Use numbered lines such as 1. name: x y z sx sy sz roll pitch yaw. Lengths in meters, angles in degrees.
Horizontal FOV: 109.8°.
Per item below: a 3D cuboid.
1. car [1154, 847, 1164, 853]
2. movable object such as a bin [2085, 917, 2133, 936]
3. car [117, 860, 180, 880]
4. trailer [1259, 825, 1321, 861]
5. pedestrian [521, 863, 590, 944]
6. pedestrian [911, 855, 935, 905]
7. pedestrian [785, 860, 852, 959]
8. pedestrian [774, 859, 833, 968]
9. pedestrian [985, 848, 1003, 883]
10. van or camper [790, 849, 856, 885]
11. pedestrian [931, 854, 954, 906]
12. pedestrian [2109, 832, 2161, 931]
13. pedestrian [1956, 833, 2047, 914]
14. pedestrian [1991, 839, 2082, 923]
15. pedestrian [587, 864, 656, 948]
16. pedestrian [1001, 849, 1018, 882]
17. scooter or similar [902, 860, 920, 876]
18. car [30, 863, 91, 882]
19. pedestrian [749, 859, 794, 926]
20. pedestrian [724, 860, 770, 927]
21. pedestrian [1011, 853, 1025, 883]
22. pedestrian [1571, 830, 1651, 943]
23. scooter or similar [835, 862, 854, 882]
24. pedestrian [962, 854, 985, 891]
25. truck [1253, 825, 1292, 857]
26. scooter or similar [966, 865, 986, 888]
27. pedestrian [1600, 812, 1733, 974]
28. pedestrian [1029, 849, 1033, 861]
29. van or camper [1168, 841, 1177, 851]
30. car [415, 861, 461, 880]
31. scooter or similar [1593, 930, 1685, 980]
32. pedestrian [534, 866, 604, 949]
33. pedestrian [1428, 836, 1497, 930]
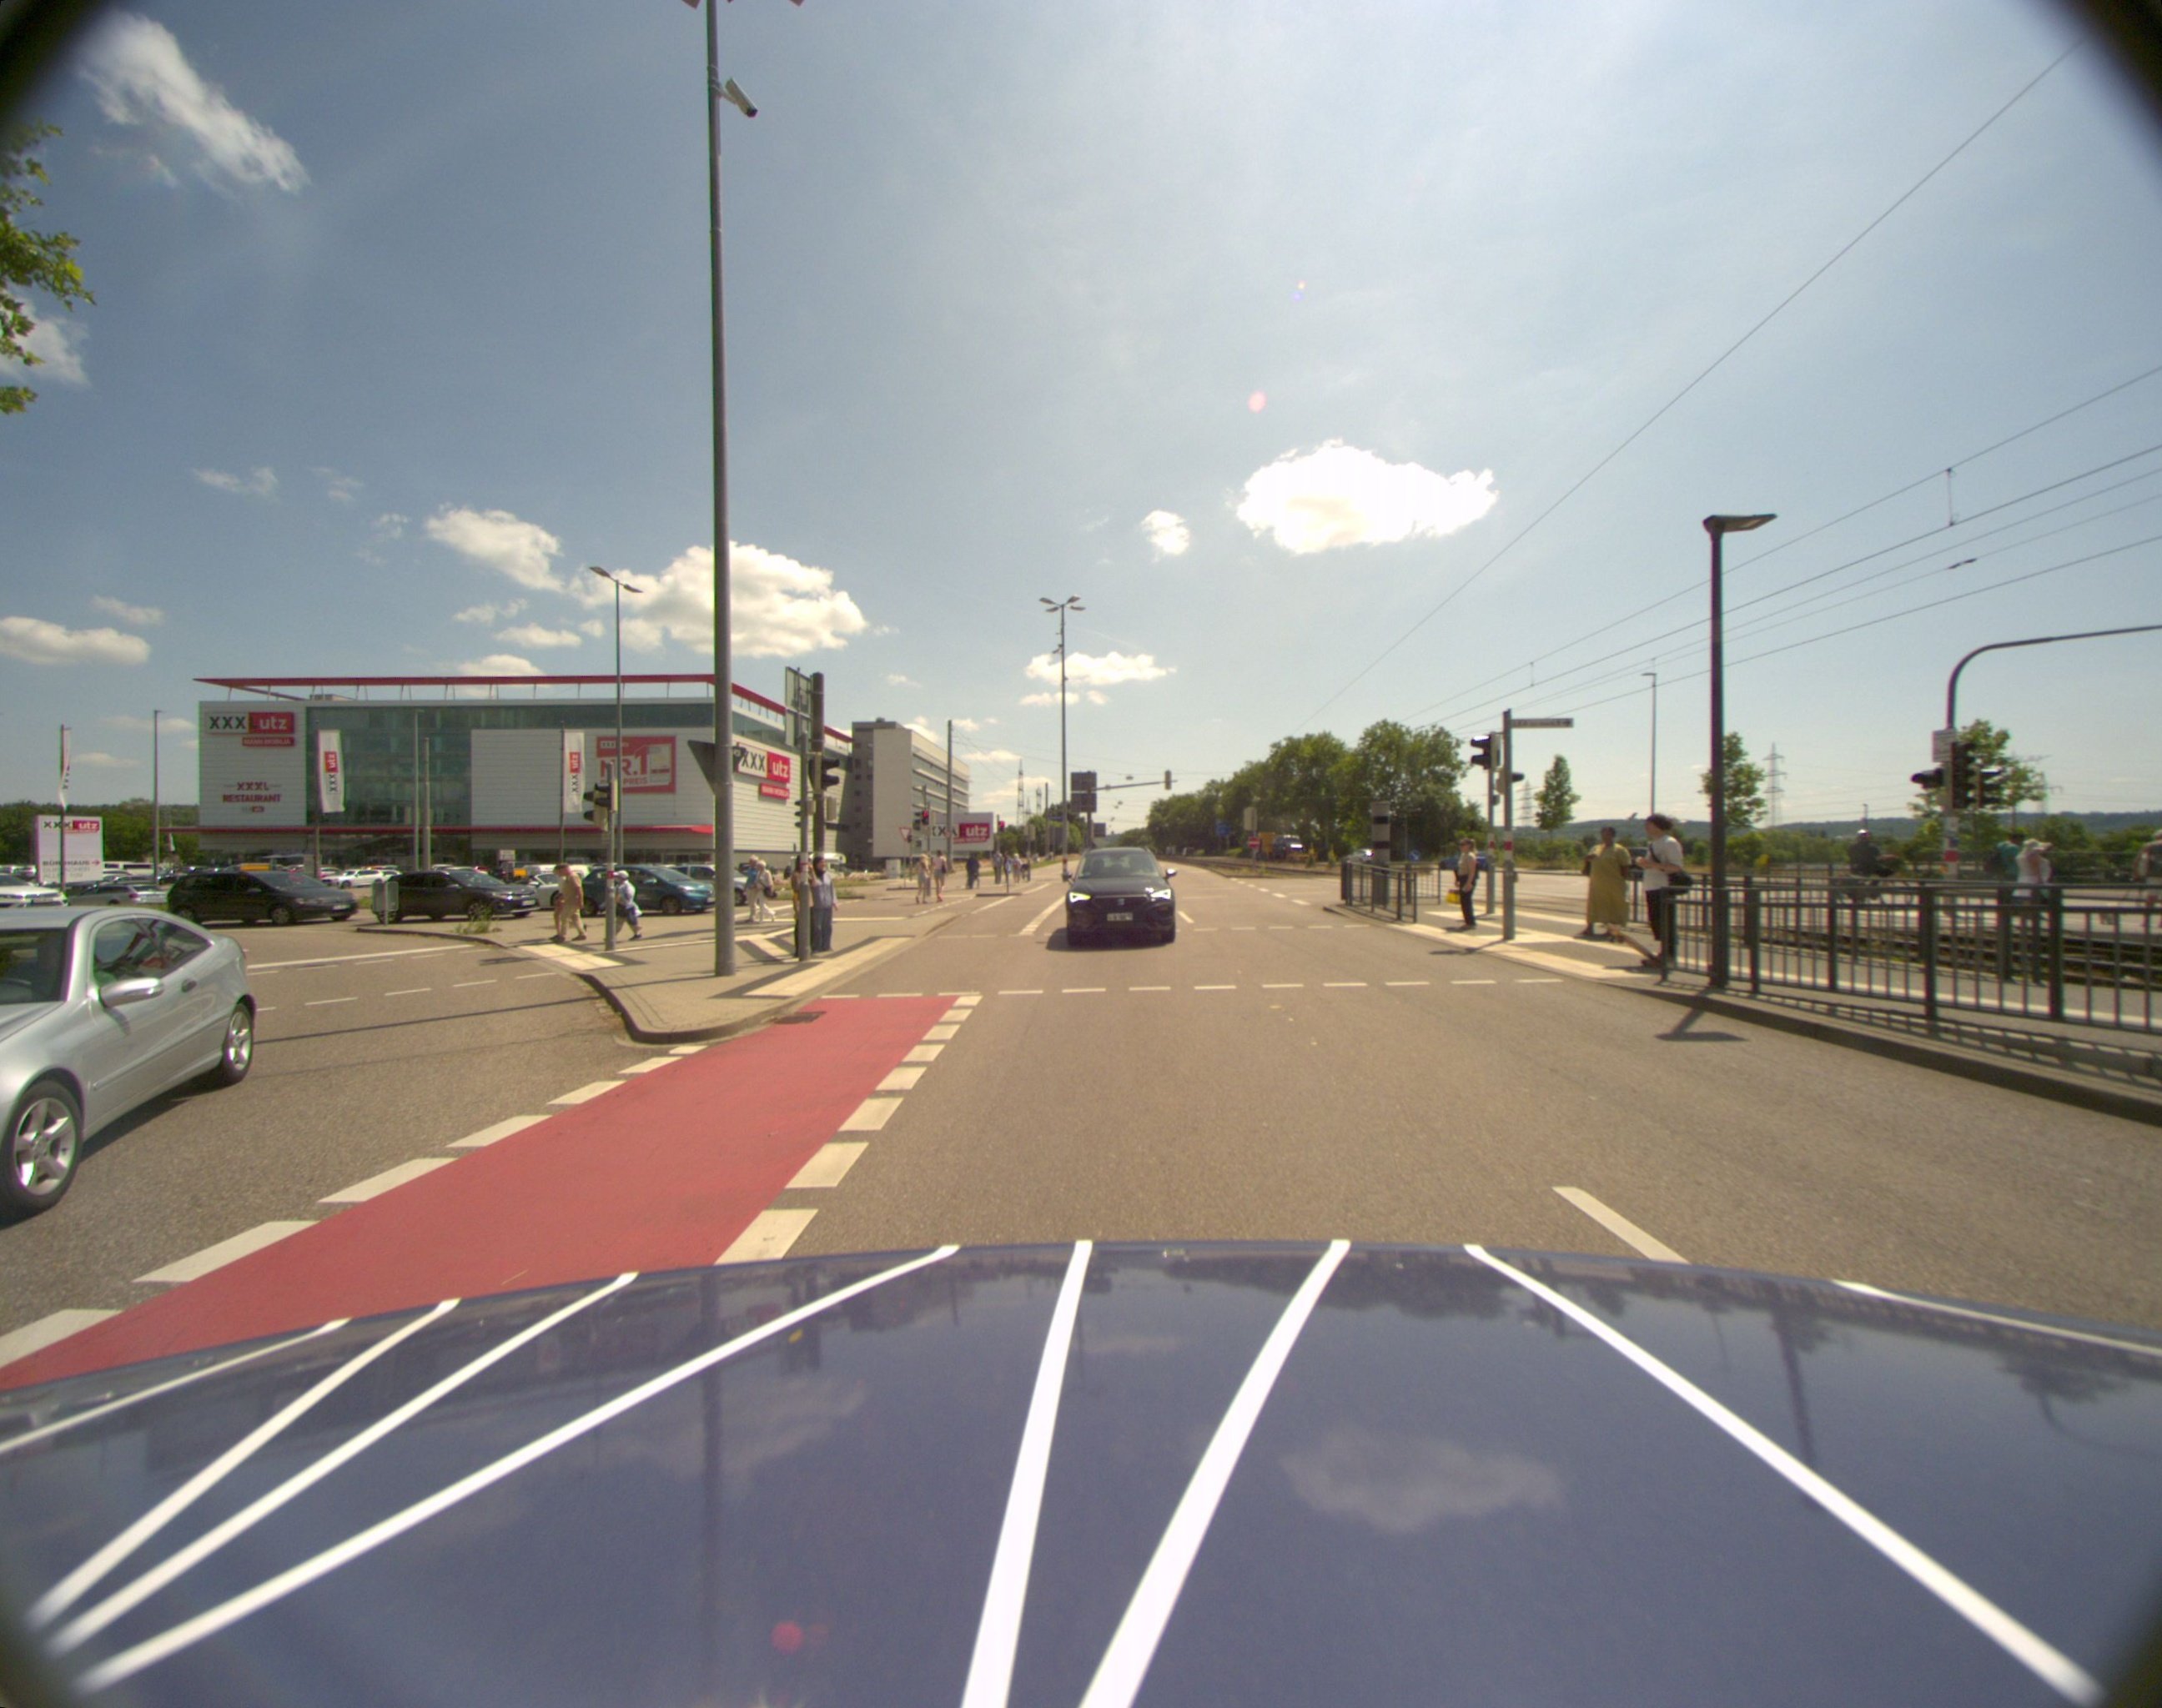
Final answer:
1. car: 21.642 -0.992 210.280 1.999 1.627 4.264 1 0 -3
2. movable object such as a bin: 18.277 1.289 13.515 0.572 0.319 0.229 -1 1 -2
3. car: -103.651 1.729 84.503 1.999 2.002 3.999 -2 1 -1
4. trailer: 24.650 -1.204 90.858 3.123 3.848 15.481 -1 0 0
5. pedestrian: -11.234 1.041 16.260 0.796 1.649 0.853 -1 1 18
6. pedestrian: -5.064 0.828 24.381 0.528 1.571 0.612 -1 1 5
7. pedestrian: -4.466 0.918 12.984 0.896 1.597 0.767 -1 1 -8
8. pedestrian: -4.427 0.928 12.166 0.726 1.673 0.624 -1 1 -9
9. pedestrian: -4.740 0.638 41.419 0.805 1.854 0.798 -2 1 6
10. van or camper: -23.247 1.116 68.829 2.715 2.929 7.615 -2 1 5
11. pedestrian: -4.548 0.843 24.959 0.528 1.656 0.640 -1 1 5
12. pedestrian: 18.576 0.455 13.069 0.763 1.662 0.764 -1 1 -1
13. pedestrian: 18.800 0.392 15.535 0.959 1.601 0.764 -1 1 -1
14. pedestrian: 18.043 0.493 14.369 0.763 1.539 0.764 -1 1 -1
15. pedestrian: -9.435 1.046 15.621 0.795 1.649 0.853 -1 1 23
16. pedestrian: -3.872 0.627 41.355 0.806 1.749 0.797 -2 1 -10
17. scooter or similar: -12.796 1.048 57.190 0.479 1.120 1.281 -1 4 30
18. car: -113.581 2.037 84.618 1.654 2.002 3.772 -1 0 4
19. pedestrian: -7.887 0.974 19.383 0.606 1.628 0.864 -1 2 15
20. pedestrian: -8.525 0.995 19.422 0.603 1.628 0.864 -1 2 15
21. pedestrian: -3.138 0.691 37.662 0.591 1.467 0.805 -2 1 -7
22. pedestrian: 8.108 0.480 11.644 0.734 1.663 0.678 -1 1 -2
23. scooter or similar: -15.955 1.228 51.221 0.479 1.283 1.281 -1 1 20
24. pedestrian: -4.908 0.827 34.722 0.783 1.663 0.947 -1 1 8
25. truck: 24.678 -1.627 98.111 3.133 4.015 7.475 -1 0 0
26. scooter or similar: -4.851 1.037 35.189 0.691 1.025 0.863 -1 1 8
27. pedestrian: 6.854 0.435 8.947 0.865 1.792 0.883 -1 1 -3
28. pedestrian: -7.558 0.116 113.850 0.518 1.783 0.634 -1 1 2
29. van or camper: 24.767 -2.114 206.472 1.998 2.571 5.844 1 1 2
30. car: -69.497 1.756 82.227 1.723 2.002 3.605 -1 1 3
31. scooter or similar: 6.438 1.154 8.779 0.728 0.503 0.457 -1 0 -2
32. pedestrian: -10.568 1.083 15.700 0.796 1.649 0.853 -1 1 18
33. pedestrian: 6.623 0.488 13.217 0.787 1.563 0.764 -1 1 -2
